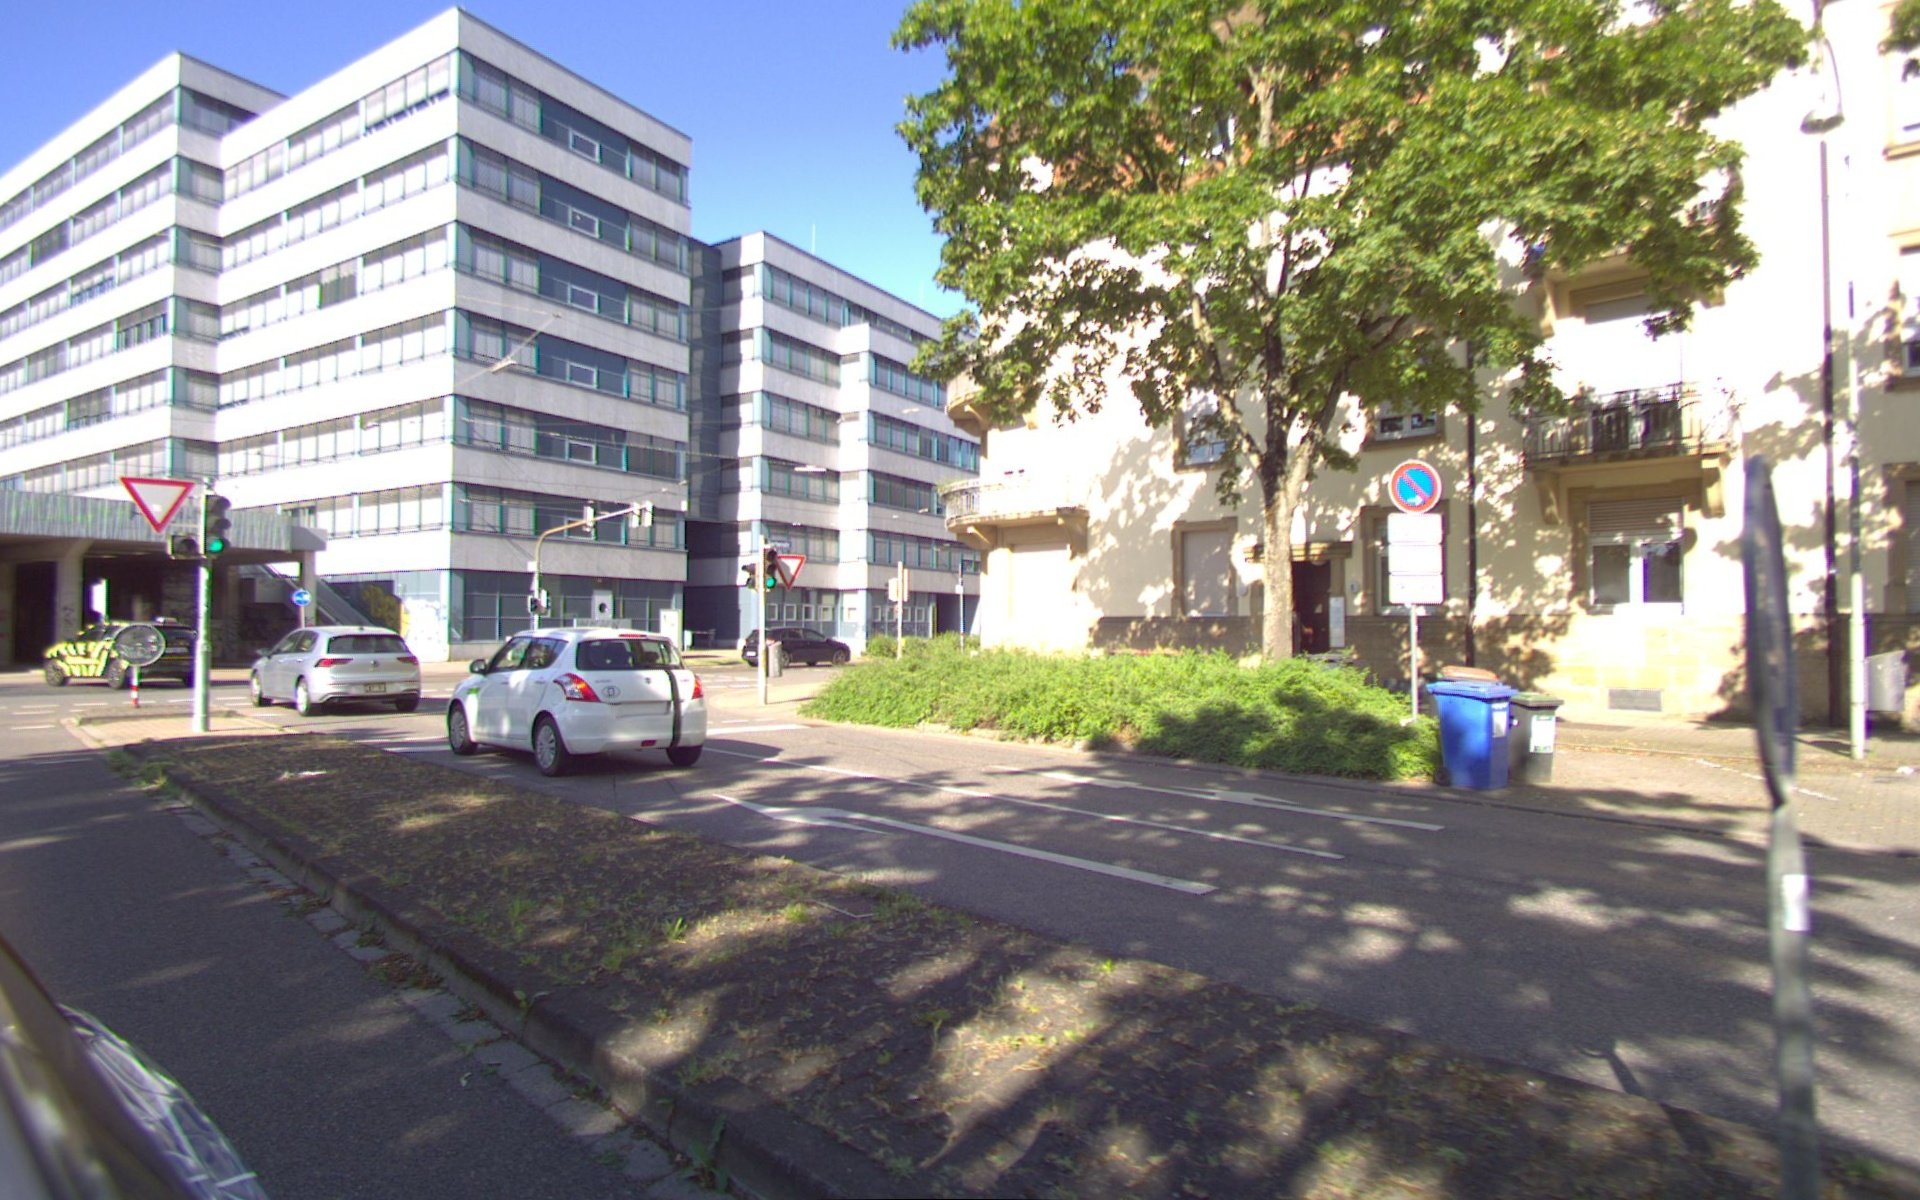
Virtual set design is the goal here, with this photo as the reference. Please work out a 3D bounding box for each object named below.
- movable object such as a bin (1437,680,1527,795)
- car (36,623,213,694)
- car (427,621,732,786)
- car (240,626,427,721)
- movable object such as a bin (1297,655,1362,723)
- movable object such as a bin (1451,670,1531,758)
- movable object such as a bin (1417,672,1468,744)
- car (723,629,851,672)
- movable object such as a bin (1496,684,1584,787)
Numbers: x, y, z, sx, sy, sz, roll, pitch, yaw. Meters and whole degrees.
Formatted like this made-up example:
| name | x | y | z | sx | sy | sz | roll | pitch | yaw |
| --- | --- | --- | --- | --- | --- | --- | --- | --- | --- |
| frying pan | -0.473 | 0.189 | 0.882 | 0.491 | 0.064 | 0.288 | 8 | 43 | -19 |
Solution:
| name | x | y | z | sx | sy | sz | roll | pitch | yaw |
| --- | --- | --- | --- | --- | --- | --- | --- | --- | --- |
| movable object such as a bin | 5.260 | 1.364 | 10.215 | 0.507 | 1.055 | 0.640 | 1 | -2 | -37 |
| car | -19.512 | 1.316 | 23.616 | 4.097 | 1.525 | 1.776 | -1 | -2 | 29 |
| car | -4.359 | 1.045 | 11.317 | 3.864 | 1.524 | 1.685 | -2 | -5 | 45 |
| car | -10.978 | 1.209 | 17.655 | 3.848 | 1.463 | 1.690 | -2 | -3 | 41 |
| movable object such as a bin | 5.820 | 1.380 | 15.935 | 0.772 | 1.007 | 0.640 | 1 | -2 | -37 |
| movable object such as a bin | 6.013 | 1.270 | 11.470 | 0.507 | 0.920 | 0.640 | 1 | -2 | -37 |
| movable object such as a bin | 6.126 | 1.359 | 12.850 | 0.398 | 0.860 | 0.440 | 1 | -2 | -37 |
| car | -6.174 | 1.803 | 36.412 | 1.808 | 1.462 | 4.262 | -2 | -4 | 45 |
| movable object such as a bin | 6.063 | 1.393 | 10.582 | 0.507 | 0.983 | 0.640 | 1 | -2 | -37 |
